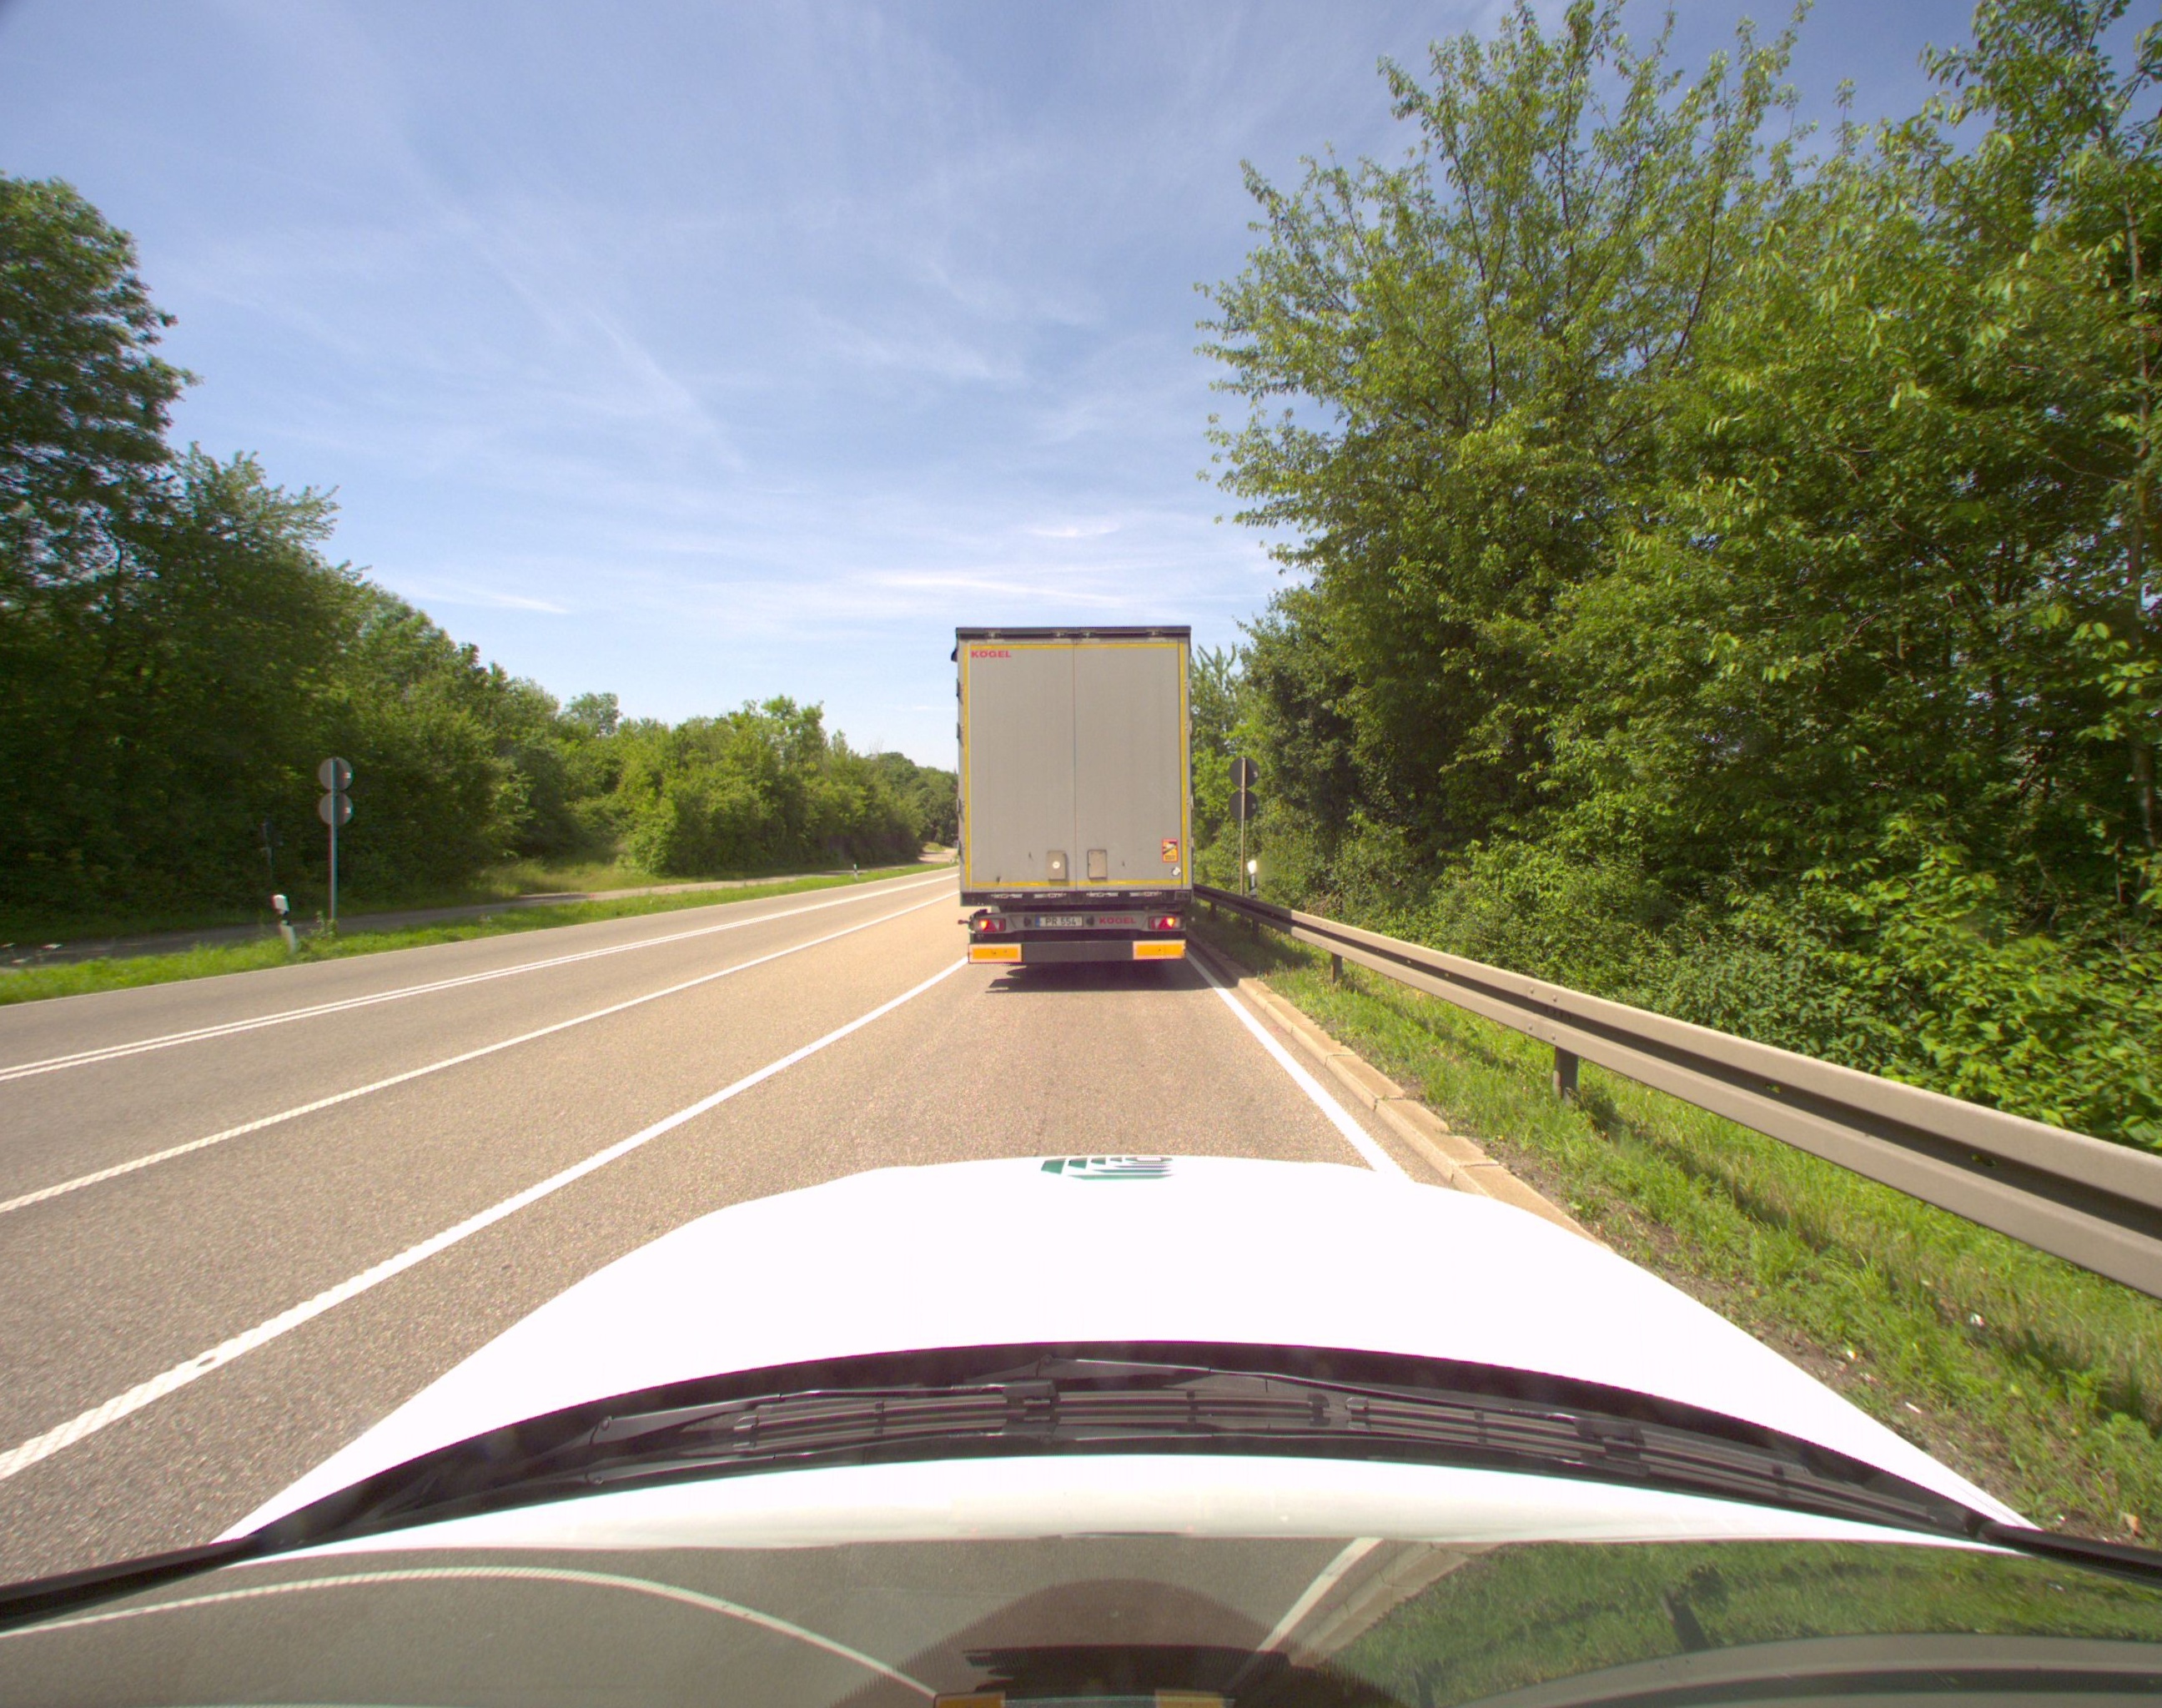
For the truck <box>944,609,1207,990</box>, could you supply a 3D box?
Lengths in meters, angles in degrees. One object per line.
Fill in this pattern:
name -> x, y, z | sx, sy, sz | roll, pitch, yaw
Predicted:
truck -> 0.053, -0.599, 14.646 | 2.747, 4.029, 11.925 | -1, 0, 1
